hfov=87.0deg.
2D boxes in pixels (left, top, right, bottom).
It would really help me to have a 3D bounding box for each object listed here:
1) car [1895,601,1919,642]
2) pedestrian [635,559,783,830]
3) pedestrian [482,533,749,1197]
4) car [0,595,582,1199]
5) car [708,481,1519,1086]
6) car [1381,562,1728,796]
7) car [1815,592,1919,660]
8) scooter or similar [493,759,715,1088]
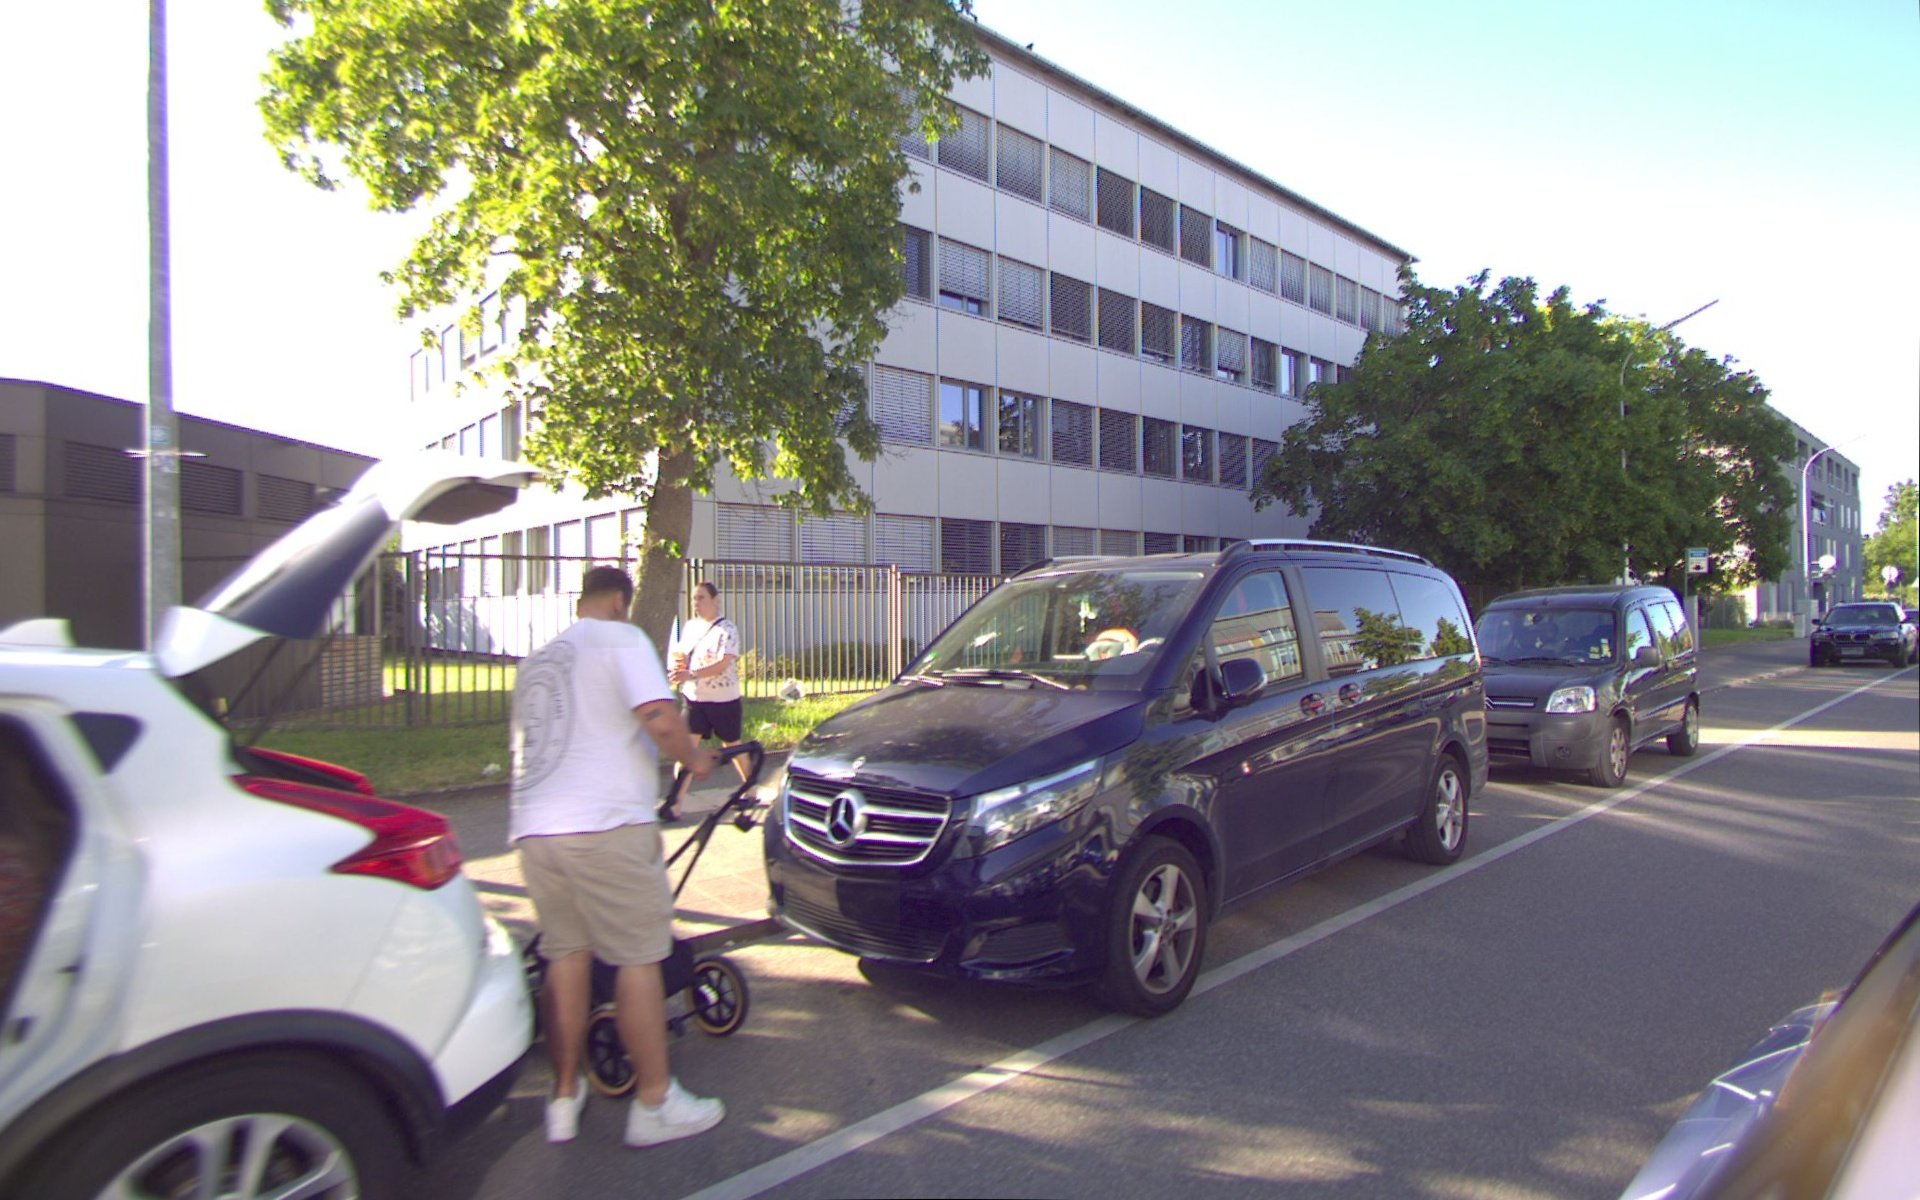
[{"bbox_3d":[36.087,0.734,37.420,4.221,1.462,1.821,0,-2,-42],"label":"car"},{"bbox_3d":[-1.753,0.606,7.069,0.762,1.750,0.692,0,0,-42],"label":"pedestrian"},{"bbox_3d":[-1.076,0.707,3.129,0.690,1.768,0.591,-1,-2,-23],"label":"pedestrian"},{"bbox_3d":[-2.959,0.792,1.689,4.043,1.533,1.666,0,-2,-42],"label":"car"},{"bbox_3d":[1.276,0.601,5.614,1.864,1.894,4.941,-3,-2,45],"label":"car"},{"bbox_3d":[5.970,0.639,9.952,4.221,1.818,1.703,0,-2,-42],"label":"car"},{"bbox_3d":[24.102,0.665,26.588,4.221,1.646,1.888,0,-2,-42],"label":"car"},{"bbox_3d":[-1.316,1.109,3.709,0.690,0.917,0.695,-1,-2,-23],"label":"scooter or similar"}]
